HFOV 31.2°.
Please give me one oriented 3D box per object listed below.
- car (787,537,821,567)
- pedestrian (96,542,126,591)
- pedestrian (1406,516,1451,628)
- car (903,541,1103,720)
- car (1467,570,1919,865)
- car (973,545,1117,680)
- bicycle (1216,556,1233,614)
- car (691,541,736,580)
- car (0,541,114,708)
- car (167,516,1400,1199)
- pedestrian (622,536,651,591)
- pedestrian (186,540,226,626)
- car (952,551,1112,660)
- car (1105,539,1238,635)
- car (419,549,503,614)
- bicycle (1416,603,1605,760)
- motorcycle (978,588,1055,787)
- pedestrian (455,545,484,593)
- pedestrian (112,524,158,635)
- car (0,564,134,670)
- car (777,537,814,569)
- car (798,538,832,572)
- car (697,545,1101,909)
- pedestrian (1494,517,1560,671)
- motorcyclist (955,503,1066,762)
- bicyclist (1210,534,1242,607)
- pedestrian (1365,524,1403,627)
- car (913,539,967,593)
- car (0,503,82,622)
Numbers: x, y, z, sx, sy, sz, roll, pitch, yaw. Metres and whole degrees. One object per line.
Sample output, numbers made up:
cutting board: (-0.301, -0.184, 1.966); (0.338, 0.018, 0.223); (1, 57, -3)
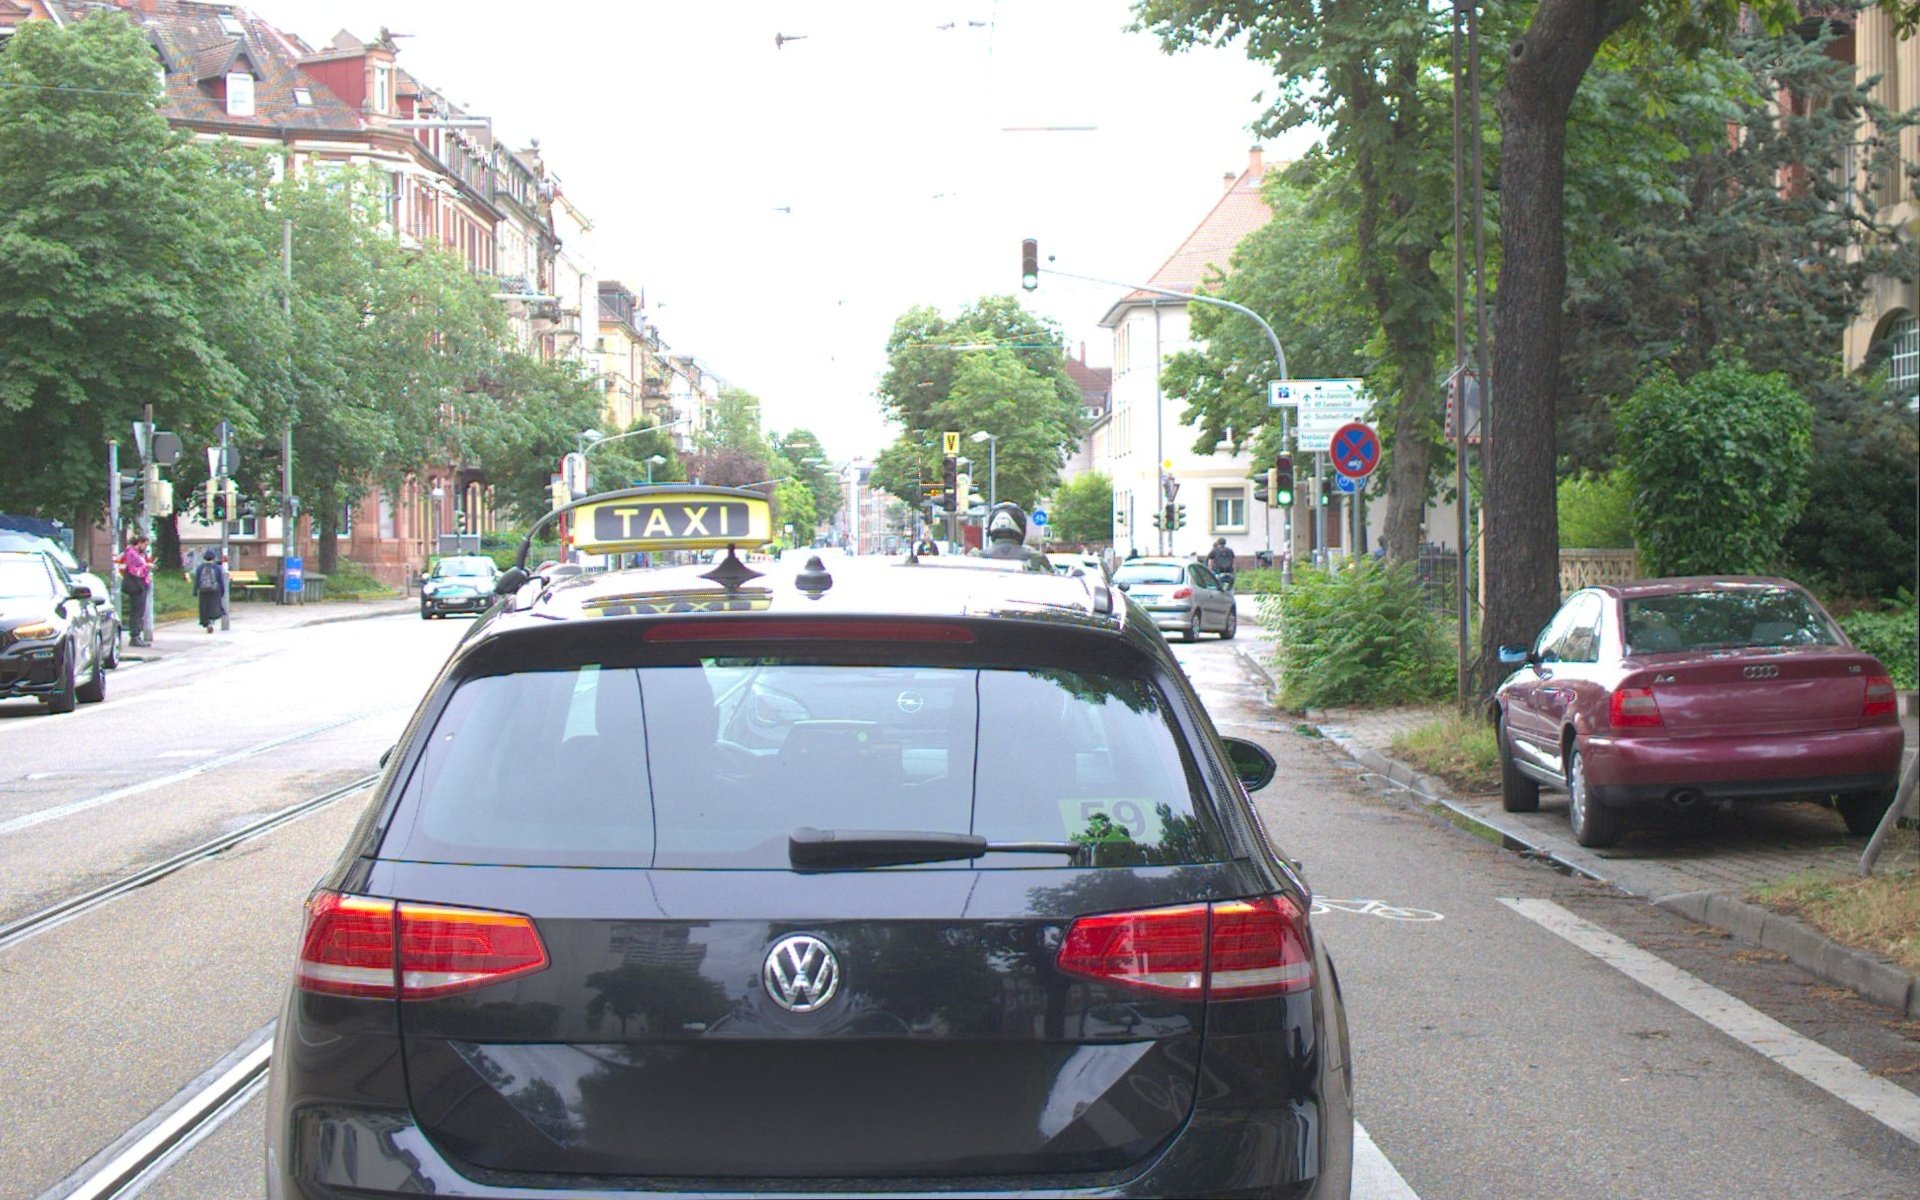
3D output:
car: (-8.443, -2.616, 186.644); (1.721, 1.617, 3.864); (0, 1, -1)
pedestrian: (-26.601, -1.054, 107.707); (0.589, 1.515, 0.647); (0, 1, 35)
pedestrian: (7.783, -0.474, 57.144); (0.585, 1.824, 0.604); (-3, 1, 2)
car: (0.352, 0.229, 31.656); (1.723, 1.541, 4.000); (0, 1, -1)
car: (4.050, 0.579, 19.606); (1.602, 1.394, 4.227); (-2, 1, -1)
car: (0.995, 0.136, 41.773); (1.606, 1.550, 3.578); (1, 0, -1)
bicycle: (5.721, -0.325, 74.267); (0.297, 1.219, 1.430); (-1, 1, 7)
car: (-10.502, -1.683, 146.636); (1.721, 1.617, 3.864); (-1, 1, -1)
car: (-10.109, 0.246, 36.149); (1.882, 1.606, 4.889); (-3, 1, -9)
car: (-0.267, 0.617, 6.819); (1.723, 1.541, 4.000); (0, 1, -1)
pedestrian: (-8.842, -0.998, 94.016); (0.714, 1.515, 0.590); (0, 1, 1)
pedestrian: (-14.645, -0.330, 66.799); (0.589, 1.657, 0.839); (0, 1, -1)
car: (1.043, 0.052, 47.805); (1.892, 1.403, 3.999); (-1, 1, 6)
car: (3.605, -0.232, 59.296); (1.993, 1.572, 4.000); (1, 0, -1)
car: (-11.569, -0.444, 79.812); (1.608, 1.417, 3.487); (-2, 1, -3)
bicycle: (4.347, 0.630, 27.075); (0.433, 1.194, 1.899); (0, 0, 45)
motorcycle: (0.362, 0.551, 22.768); (0.446, 1.231, 1.907); (-1, 1, -1)
pedestrian: (-15.404, -0.970, 107.957); (0.589, 1.515, 0.647); (0, 1, 35)
pedestrian: (-13.769, -0.344, 57.368); (0.623, 1.836, 0.610); (0, 1, -3)
car: (-12.944, 0.213, 48.711); (1.648, 1.357, 4.130); (2, 1, -3)
car: (-8.254, -2.365, 172.558); (1.721, 1.617, 3.864); (0, 1, -1)
car: (-8.708, -2.717, 206.542); (1.993, 2.007, 4.000); (1, 0, -2)
car: (-0.282, 0.513, 16.685); (1.723, 1.541, 4.000); (0, 1, -1)
pedestrian: (6.743, -0.076, 40.925); (0.632, 1.808, 0.726); (0, 1, -3)
motorcyclist: (0.332, 0.206, 22.891); (0.703, 1.686, 0.804); (-1, 1, -1)
bicyclist: (5.761, -0.649, 74.393); (0.651, 1.563, 0.695); (-1, 1, 7)
pedestrian: (7.660, -0.442, 62.078); (0.514, 1.824, 0.417); (-3, 1, 16)
car: (-0.780, -1.311, 132.090); (2.033, 2.007, 4.000); (1, 0, -1)
car: (-20.729, -0.793, 72.106); (2.180, 2.409, 5.377); (-1, 1, -43)
